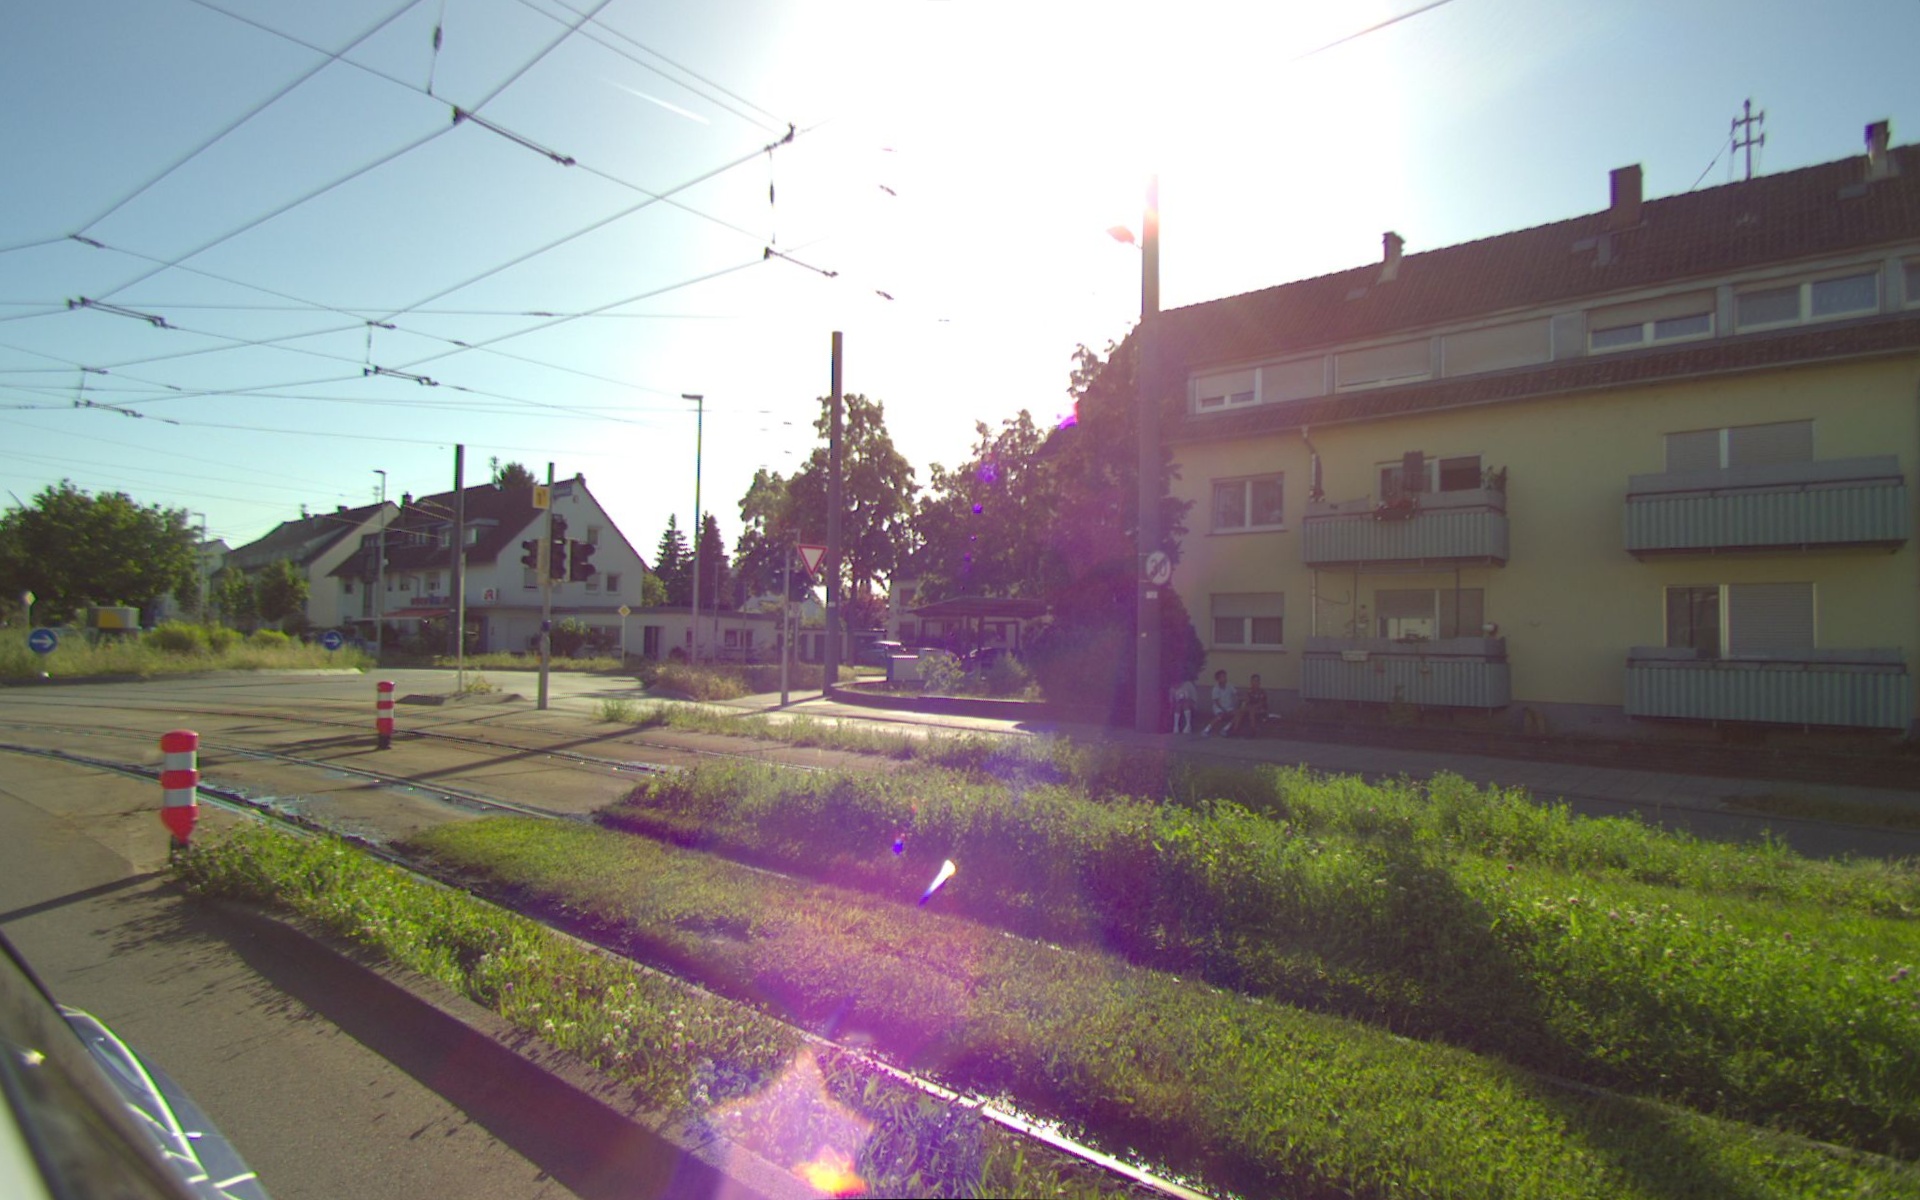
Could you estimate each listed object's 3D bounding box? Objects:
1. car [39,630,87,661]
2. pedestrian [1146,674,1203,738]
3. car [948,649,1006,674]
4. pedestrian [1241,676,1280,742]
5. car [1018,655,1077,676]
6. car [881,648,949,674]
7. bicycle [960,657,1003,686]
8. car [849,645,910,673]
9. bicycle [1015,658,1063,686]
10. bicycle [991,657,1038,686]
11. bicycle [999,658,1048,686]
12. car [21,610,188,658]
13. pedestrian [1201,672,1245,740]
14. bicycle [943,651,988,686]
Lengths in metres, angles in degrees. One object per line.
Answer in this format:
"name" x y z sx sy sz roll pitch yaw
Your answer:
"car" -64.546 3.259 72.809 4.368 2.030 1.871 1 -2 40
"pedestrian" 3.782 1.850 17.819 0.687 1.054 0.809 0 -3 39
"car" 1.120 3.957 65.249 1.804 1.475 3.750 1 -2 40
"pedestrian" 5.038 1.810 16.972 0.590 1.013 0.720 2 -2 17
"car" 5.982 4.473 69.189 1.968 1.334 3.942 1 -2 44
"car" -2.592 3.564 58.775 1.600 1.375 3.942 0 -2 44
"bicycle" 0.816 2.780 39.362 0.590 1.035 1.696 4 -2 -45
"car" -5.380 3.914 67.185 1.968 1.707 4.057 4 -3 -40
"bicycle" 3.226 2.944 41.657 0.679 1.035 1.980 4 -2 -45
"bicycle" 2.156 2.826 40.116 0.679 1.035 1.848 4 -2 -45
"bicycle" 2.570 2.910 40.964 0.686 1.035 1.980 4 -2 -45
"car" -31.957 1.260 37.945 4.366 1.592 1.842 3 -2 -14
"pedestrian" 4.495 1.801 17.333 0.619 1.073 0.818 2 -2 8
"bicycle" 0.216 2.567 38.173 0.679 1.217 1.672 4 -2 -45
